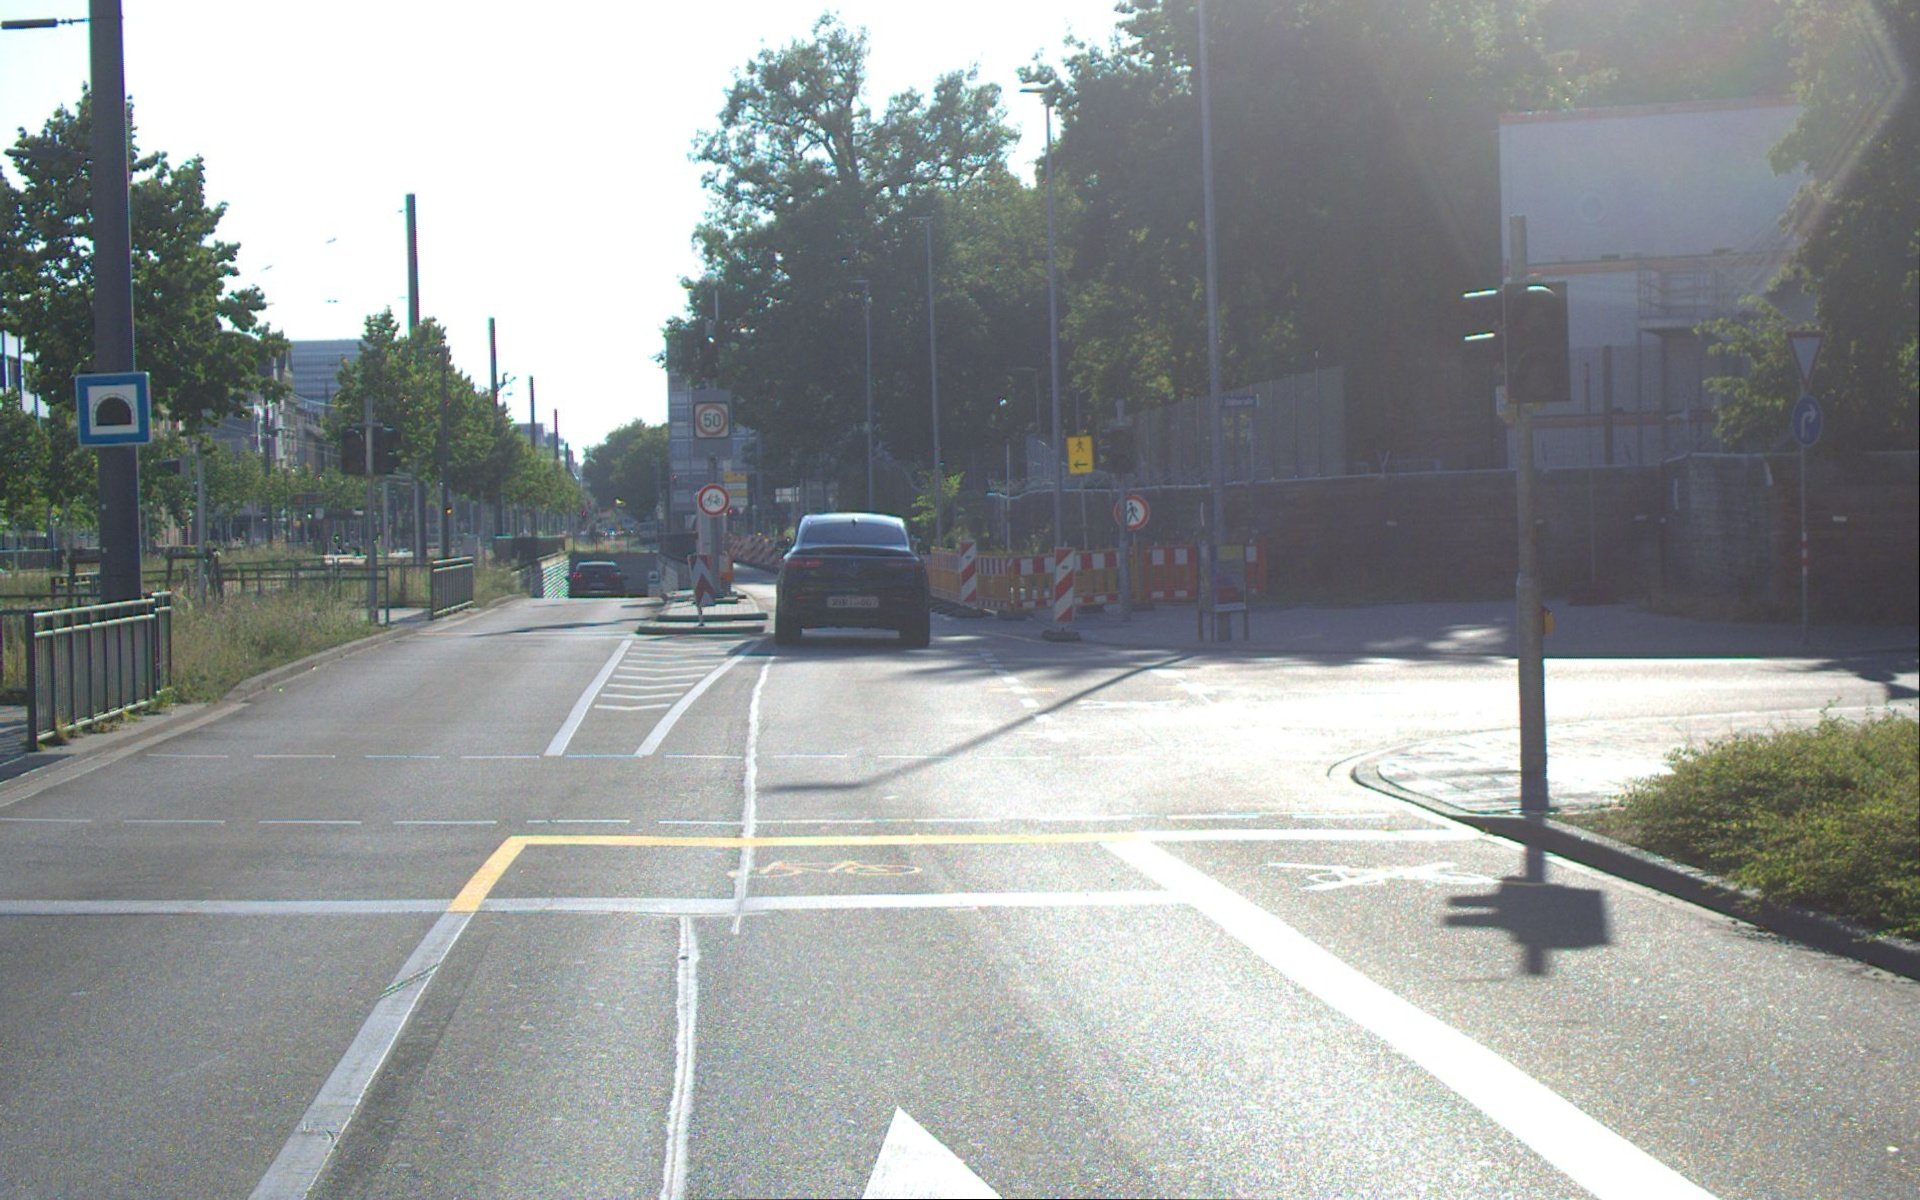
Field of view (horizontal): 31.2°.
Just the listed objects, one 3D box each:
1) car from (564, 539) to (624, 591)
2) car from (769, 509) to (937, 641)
[{"bbox_3d":[-11.911,-1.151,112.127,1.826,1.653,4.001,1,1,-5],"label":"car"},{"bbox_3d":[-1.467,-0.334,45.539,2.005,1.653,4.001,1,1,-5],"label":"car"}]
